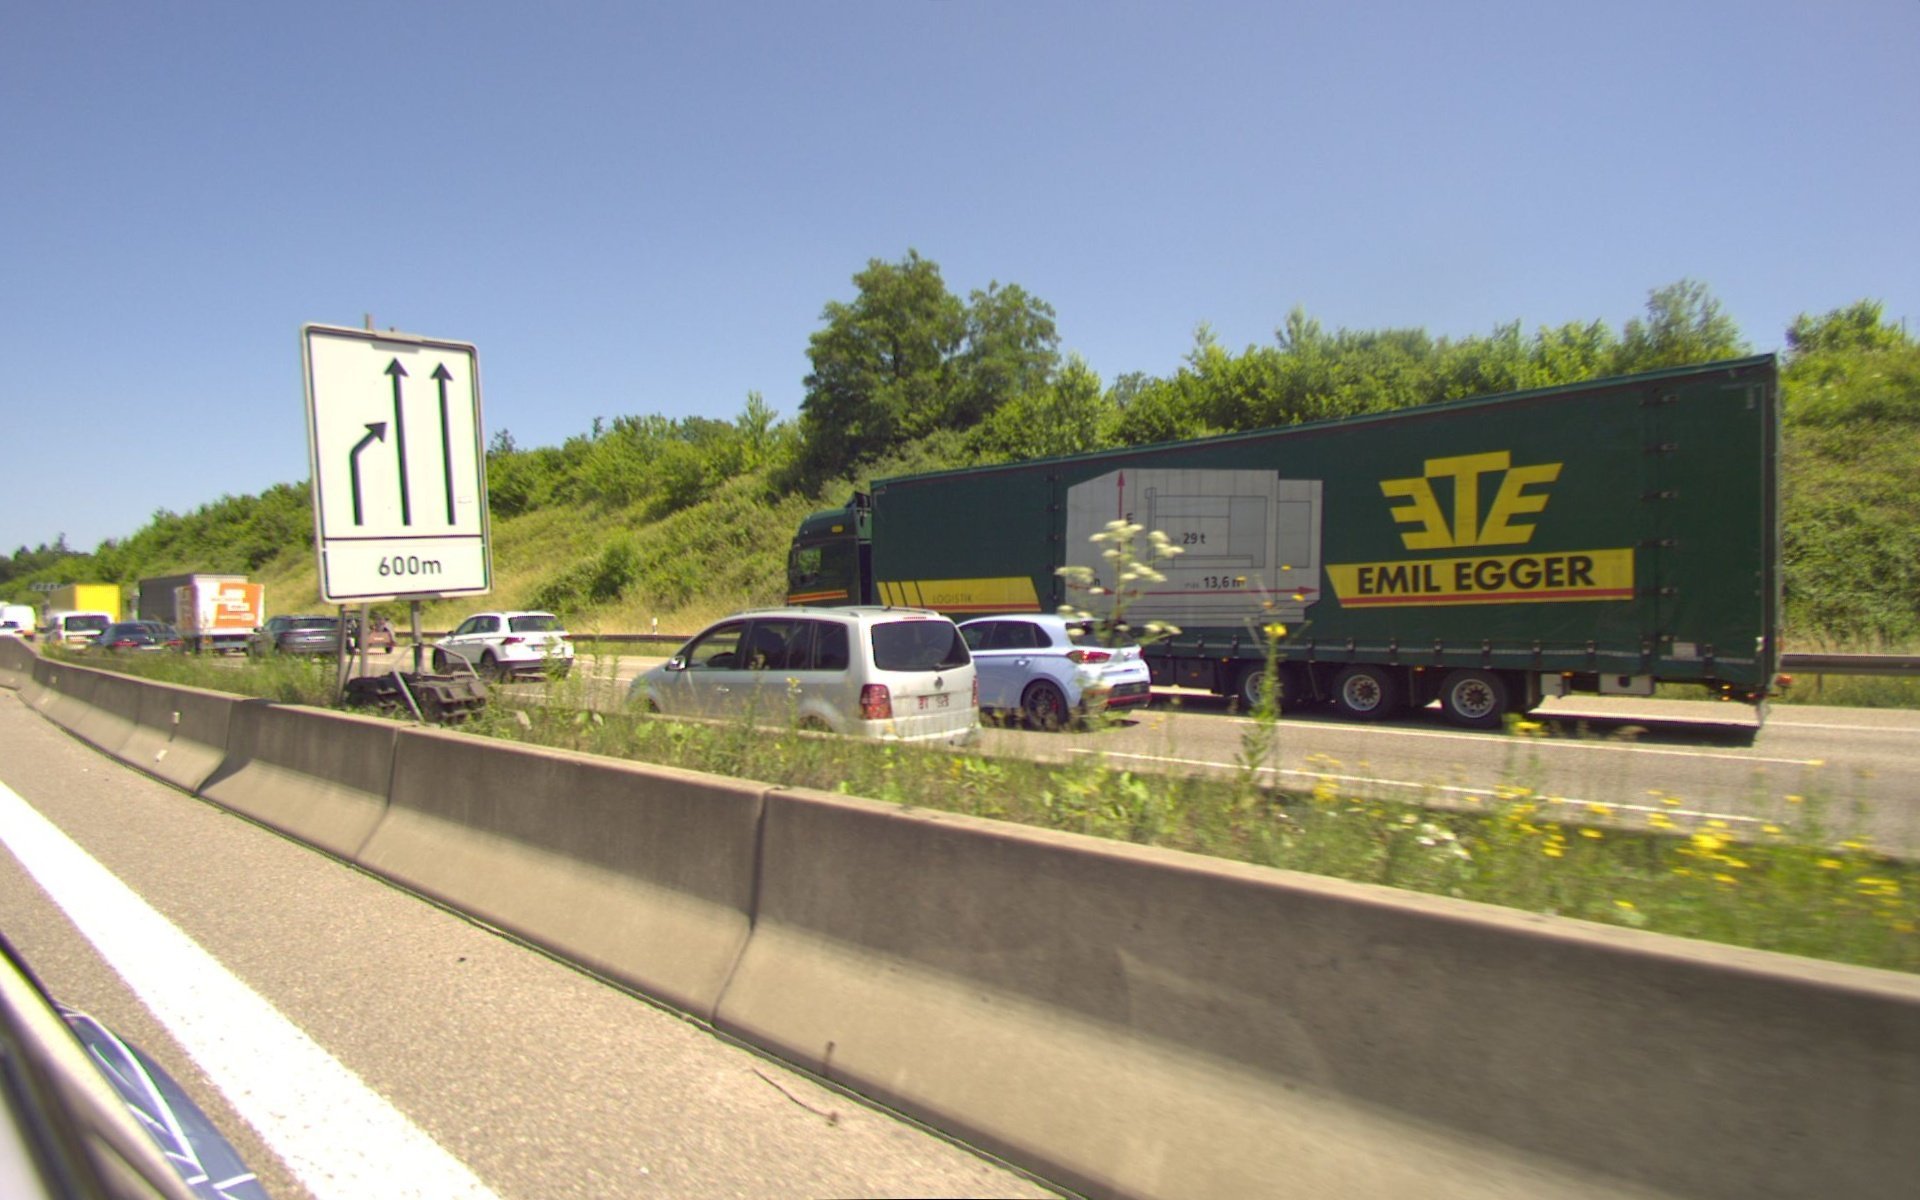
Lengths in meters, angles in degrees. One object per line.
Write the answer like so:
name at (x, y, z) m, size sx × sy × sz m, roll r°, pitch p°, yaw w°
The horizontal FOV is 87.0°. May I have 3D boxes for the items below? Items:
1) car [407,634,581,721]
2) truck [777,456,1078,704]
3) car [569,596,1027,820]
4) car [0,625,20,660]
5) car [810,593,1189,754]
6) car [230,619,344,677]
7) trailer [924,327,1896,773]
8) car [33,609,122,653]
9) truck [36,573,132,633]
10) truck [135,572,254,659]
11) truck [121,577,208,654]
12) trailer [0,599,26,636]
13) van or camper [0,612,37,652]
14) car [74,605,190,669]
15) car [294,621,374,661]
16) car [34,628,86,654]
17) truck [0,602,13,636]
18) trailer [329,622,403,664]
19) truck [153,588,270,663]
car at (-11.220, 1.754, 24.179) m, size 4.986 × 1.778 × 1.809 m, roll -1°, pitch 0°, yaw 40°
truck at (-0.776, -0.316, 20.265) m, size 5.627 × 4.235 × 2.789 m, roll -1°, pitch -1°, yaw 42°
car at (-1.865, 0.889, 10.368) m, size 4.986 × 1.778 × 1.809 m, roll -1°, pitch 0°, yaw 40°
car at (-52.583, 2.297, 54.839) m, size 4.986 × 1.778 × 1.809 m, roll -1°, pitch 0°, yaw 40°
car at (0.357, 0.834, 13.482) m, size 4.986 × 1.778 × 1.809 m, roll -1°, pitch 0°, yaw 40°
car at (-22.437, 1.537, 33.658) m, size 4.986 × 1.778 × 1.809 m, roll -1°, pitch 0°, yaw 40°
trailer at (5.087, -0.411, 15.035) m, size 12.781 × 4.294 × 2.813 m, roll -1°, pitch 0°, yaw 41°
car at (-34.104, 1.179, 39.067) m, size 5.106 × 1.576 × 1.809 m, roll -1°, pitch 0°, yaw 40°
truck at (-71.040, 0.327, 81.816) m, size 16.667 × 4.490 × 3.658 m, roll -1°, pitch 0°, yaw 41°
truck at (-44.895, 0.902, 59.081) m, size 13.920 × 4.577 × 2.963 m, roll -1°, pitch 0°, yaw 42°
truck at (-50.520, 0.971, 64.196) m, size 8.603 × 4.550 × 2.911 m, roll -1°, pitch 0°, yaw 42°
trailer at (-102.018, 1.952, 107.756) m, size 10.674 × 3.761 × 2.583 m, roll -2°, pitch -1°, yaw 41°
van or camper at (-72.684, 2.405, 77.601) m, size 7.533 × 2.961 × 2.173 m, roll -1°, pitch 0°, yaw 43°
car at (-25.054, 1.073, 30.558) m, size 4.986 × 1.778 × 1.809 m, roll -1°, pitch 0°, yaw 40°
car at (-27.056, 1.747, 43.678) m, size 4.366 × 1.599 × 1.715 m, roll -1°, pitch 0°, yaw 41°
car at (-57.495, 2.584, 64.640) m, size 4.519 × 1.576 × 1.809 m, roll -1°, pitch 0°, yaw 40°
truck at (-107.185, 2.104, 112.138) m, size 5.867 × 3.771 × 2.651 m, roll -1°, pitch 0°, yaw 40°
trailer at (-24.192, 1.699, 41.195) m, size 3.220 × 1.599 × 1.677 m, roll -1°, pitch 0°, yaw 41°
truck at (-30.857, 1.006, 41.606) m, size 6.750 × 2.866 × 2.541 m, roll -1°, pitch 0°, yaw 42°
